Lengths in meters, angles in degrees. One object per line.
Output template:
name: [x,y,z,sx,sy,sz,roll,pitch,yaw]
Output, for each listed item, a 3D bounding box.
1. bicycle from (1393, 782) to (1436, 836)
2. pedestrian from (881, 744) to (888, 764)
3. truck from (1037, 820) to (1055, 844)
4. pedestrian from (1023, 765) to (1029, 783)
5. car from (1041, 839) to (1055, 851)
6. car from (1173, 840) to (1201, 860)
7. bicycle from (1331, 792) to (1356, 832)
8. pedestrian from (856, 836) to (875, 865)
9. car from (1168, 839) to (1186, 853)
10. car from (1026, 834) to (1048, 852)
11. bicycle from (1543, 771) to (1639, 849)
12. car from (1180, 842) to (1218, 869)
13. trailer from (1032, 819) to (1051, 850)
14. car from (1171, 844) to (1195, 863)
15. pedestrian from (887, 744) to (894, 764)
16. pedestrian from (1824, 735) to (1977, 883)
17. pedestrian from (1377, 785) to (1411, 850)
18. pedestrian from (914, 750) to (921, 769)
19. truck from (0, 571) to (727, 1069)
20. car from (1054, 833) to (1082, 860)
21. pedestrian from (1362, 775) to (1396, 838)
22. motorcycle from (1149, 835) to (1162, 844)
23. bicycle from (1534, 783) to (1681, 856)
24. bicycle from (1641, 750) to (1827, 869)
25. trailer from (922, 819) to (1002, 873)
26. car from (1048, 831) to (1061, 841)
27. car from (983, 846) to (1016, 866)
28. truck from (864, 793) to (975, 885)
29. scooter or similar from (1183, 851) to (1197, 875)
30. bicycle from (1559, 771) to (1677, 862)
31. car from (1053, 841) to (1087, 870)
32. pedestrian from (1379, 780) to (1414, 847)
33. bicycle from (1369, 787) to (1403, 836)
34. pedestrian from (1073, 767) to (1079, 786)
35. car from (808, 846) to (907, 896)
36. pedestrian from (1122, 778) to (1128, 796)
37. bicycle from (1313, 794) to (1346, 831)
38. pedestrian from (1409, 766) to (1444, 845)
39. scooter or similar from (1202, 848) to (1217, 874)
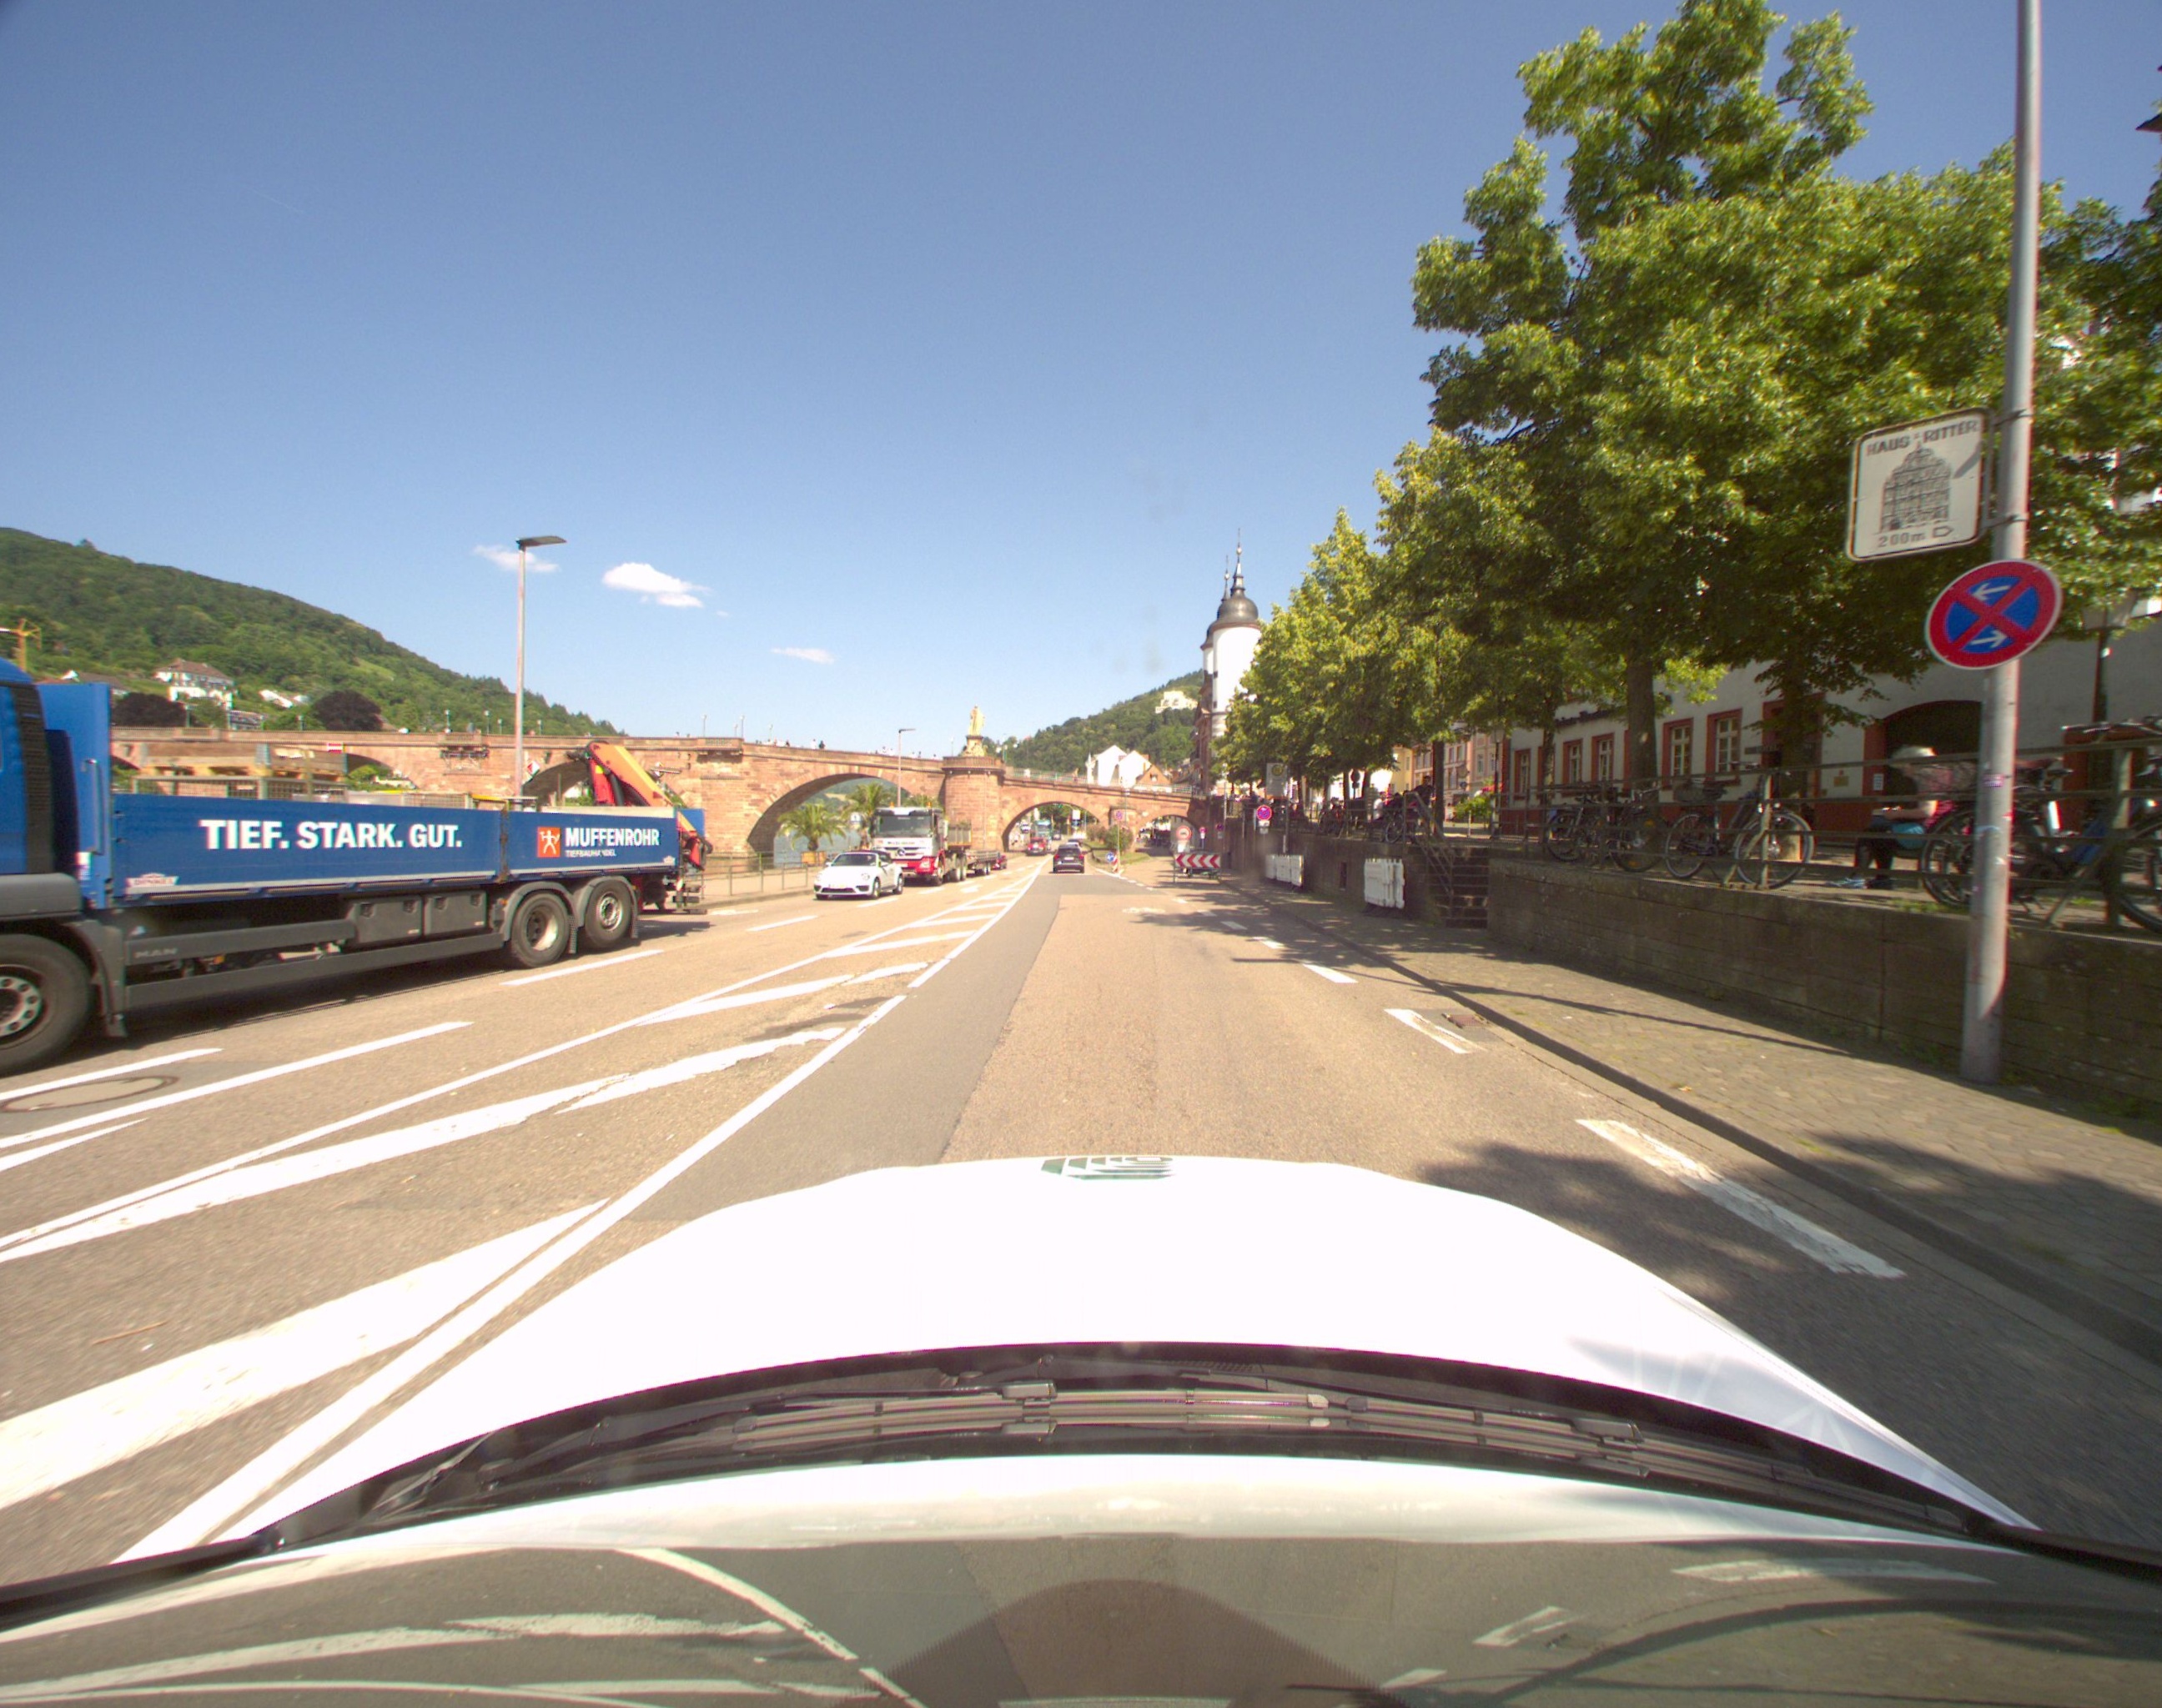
bicycle: [7.237,-0.956,17.735,0.407,1.105,1.929,0,1,9]
pedestrian: [-21.007,-10.678,87.007,0.623,2.013,0.694,0,1,-7]
truck: [-5.576,-3.566,130.542,2.516,3.747,6.245,-1,3,-1]
pedestrian: [-6.075,-8.856,90.330,0.579,2.013,0.586,0,1,0]
car: [-4.231,-1.210,103.962,1.529,1.436,3.729,-1,1,1]
car: [7.956,-0.303,61.492,1.704,1.457,3.549,1,1,2]
bicycle: [7.573,-1.196,23.573,0.407,1.105,1.739,0,1,9]
pedestrian: [-12.783,-0.230,48.396,0.800,1.691,0.836,-1,2,-40]
car: [11.359,-0.969,96.477,1.885,1.492,4.421,0,2,3]
car: [-4.549,-1.183,84.809,1.867,1.827,4.546,-1,2,1]
bicycle: [7.978,-0.669,12.834,0.380,1.140,1.936,0,2,3]
car: [6.714,0.055,46.838,1.834,1.450,4.540,1,1,4]
trailer: [-4.335,-2.145,90.300,1.735,3.320,3.386,-1,1,2]
car: [8.254,-0.057,65.675,1.701,1.388,4.419,-1,1,9]
pedestrian: [-20.405,-10.683,87.178,0.623,2.013,0.694,0,1,-7]
pedestrian: [7.317,-0.388,7.301,0.692,1.264,0.669,0,1,-1]
pedestrian: [8.371,-0.972,21.787,0.715,1.720,0.574,0,1,3]
pedestrian: [-17.468,-10.103,86.946,0.623,2.013,0.694,0,1,-7]
truck: [-8.488,-0.322,9.856,2.629,3.476,11.124,0,1,5]
car: [-0.985,-0.606,63.851,1.986,2.013,4.001,0,1,1]
pedestrian: [8.203,-1.296,22.411,0.715,1.720,0.712,0,1,3]
motorcycle: [11.425,-2.271,125.254,2.208,1.267,0.621,-1,3,-38]
bicycle: [7.345,-0.481,11.379,1.847,1.004,0.299,0,2,0]
bicycle: [6.162,-0.405,7.826,0.297,1.004,1.943,0,2,3]
trailer: [-6.124,-0.417,42.971,2.686,2.530,6.954,2,1,4]
car: [-4.673,-3.224,144.145,1.855,1.661,3.988,-1,1,-9]
car: [-5.282,0.117,52.962,1.665,1.194,3.630,-1,1,1]
truck: [-6.631,-0.607,34.830,2.630,3.456,7.879,-1,1,4]
scooter or similar: [5.218,0.412,38.857,0.528,1.089,1.444,0,1,13]
bicycle: [6.492,-0.449,9.952,0.297,1.004,1.862,0,2,3]
car: [-0.579,0.051,46.862,1.851,1.523,4.000,0,1,0]
pedestrian: [8.189,-1.048,21.169,0.715,1.720,0.574,0,1,3]
bicycle: [7.270,-0.990,19.429,0.407,1.105,1.739,0,1,9]
pedestrian: [-0.522,-8.248,87.024,0.621,2.013,0.695,0,1,1]
car: [-6.895,0.461,25.534,1.770,1.443,4.002,0,1,4]
pedestrian: [4.947,-7.559,92.177,0.681,2.013,0.586,0,1,0]
bicycle: [7.775,-1.271,25.543,0.409,1.105,1.732,-1,1,-3]
pedestrian: [9.741,-1.356,22.961,0.715,2.188,0.712,0,1,3]
scooter or similar: [6.232,0.335,39.457,0.527,1.230,1.277,0,1,18]
